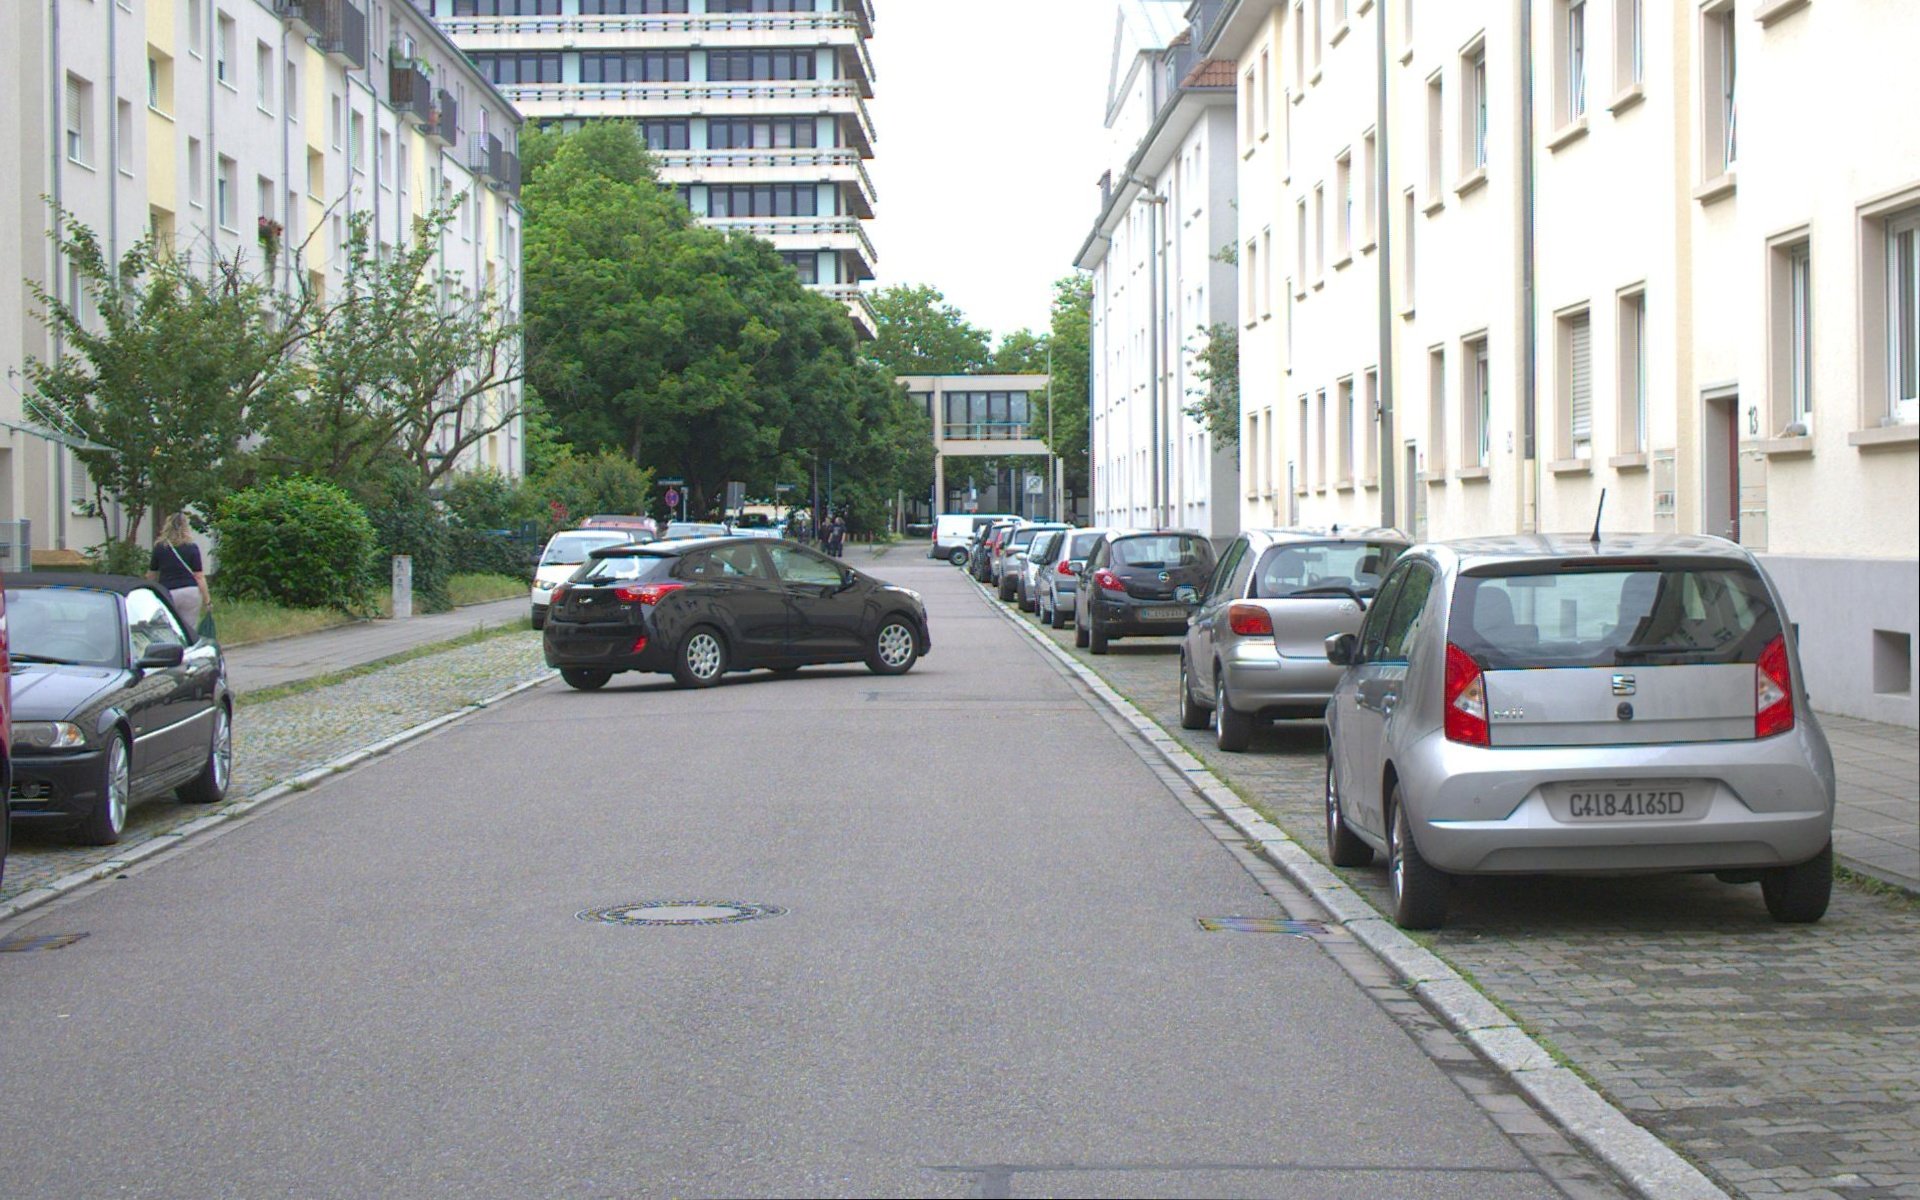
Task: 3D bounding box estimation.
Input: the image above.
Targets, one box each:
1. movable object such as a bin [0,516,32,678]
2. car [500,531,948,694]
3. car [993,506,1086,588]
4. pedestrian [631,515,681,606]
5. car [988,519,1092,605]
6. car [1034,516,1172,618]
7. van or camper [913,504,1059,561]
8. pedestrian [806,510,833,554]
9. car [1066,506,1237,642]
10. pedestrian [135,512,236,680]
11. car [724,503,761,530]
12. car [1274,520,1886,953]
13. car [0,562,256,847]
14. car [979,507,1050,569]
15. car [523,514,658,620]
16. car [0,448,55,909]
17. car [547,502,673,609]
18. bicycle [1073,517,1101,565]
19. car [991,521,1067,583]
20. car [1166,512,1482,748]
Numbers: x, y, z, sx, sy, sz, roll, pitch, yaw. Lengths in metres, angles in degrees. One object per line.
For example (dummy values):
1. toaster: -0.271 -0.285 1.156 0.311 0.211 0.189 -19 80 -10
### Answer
1. movable object such as a bin: -8.827 -0.033 30.465 0.803 1.424 1.288 0 1 3
2. car: -2.258 0.080 33.787 1.908 1.428 4.222 0 2 43
3. car: 1.612 -1.118 70.666 1.820 1.636 4.091 0 2 0
4. pedestrian: -5.728 -0.750 64.744 0.740 1.696 0.796 -2 1 -18
5. car: 1.407 -0.710 61.997 1.725 1.471 4.505 0 2 0
6. car: 2.116 -0.527 51.711 1.848 1.445 3.833 -1 1 -1
7. van or camper: 0.940 -2.498 126.448 5.171 2.007 2.000 -1 1 -4
8. pedestrian: -5.388 -2.614 132.261 0.972 1.648 0.981 -1 1 -1
9. car: 2.253 -0.353 41.360 1.725 1.512 4.061 -1 2 -1
10. pedestrian: -7.535 -0.051 33.469 0.799 1.604 0.947 -1 1 -5
11. car: -10.963 -4.218 173.225 1.665 1.328 3.396 0 2 -1
12. car: 2.402 0.440 14.299 1.725 1.487 4.061 -1 2 -1
13. car: -5.217 0.488 19.027 1.870 1.319 4.362 1 1 -2
14. car: 1.433 -1.664 91.923 1.820 1.597 4.091 -1 1 0
15. car: -5.737 -0.549 53.705 1.720 1.564 3.871 1 1 -1
16. car: -5.034 0.350 12.963 2.151 1.947 4.923 1 1 -3
17. car: -6.022 -0.801 59.586 1.956 1.764 4.362 0 1 -3
18. bicycle: 3.161 -1.473 85.400 0.530 1.171 2.036 -2 2 5
19. car: 1.731 -1.228 86.819 1.820 1.498 4.091 -1 1 0
20. car: 2.500 0.146 24.474 1.725 1.512 4.061 -1 1 -1
